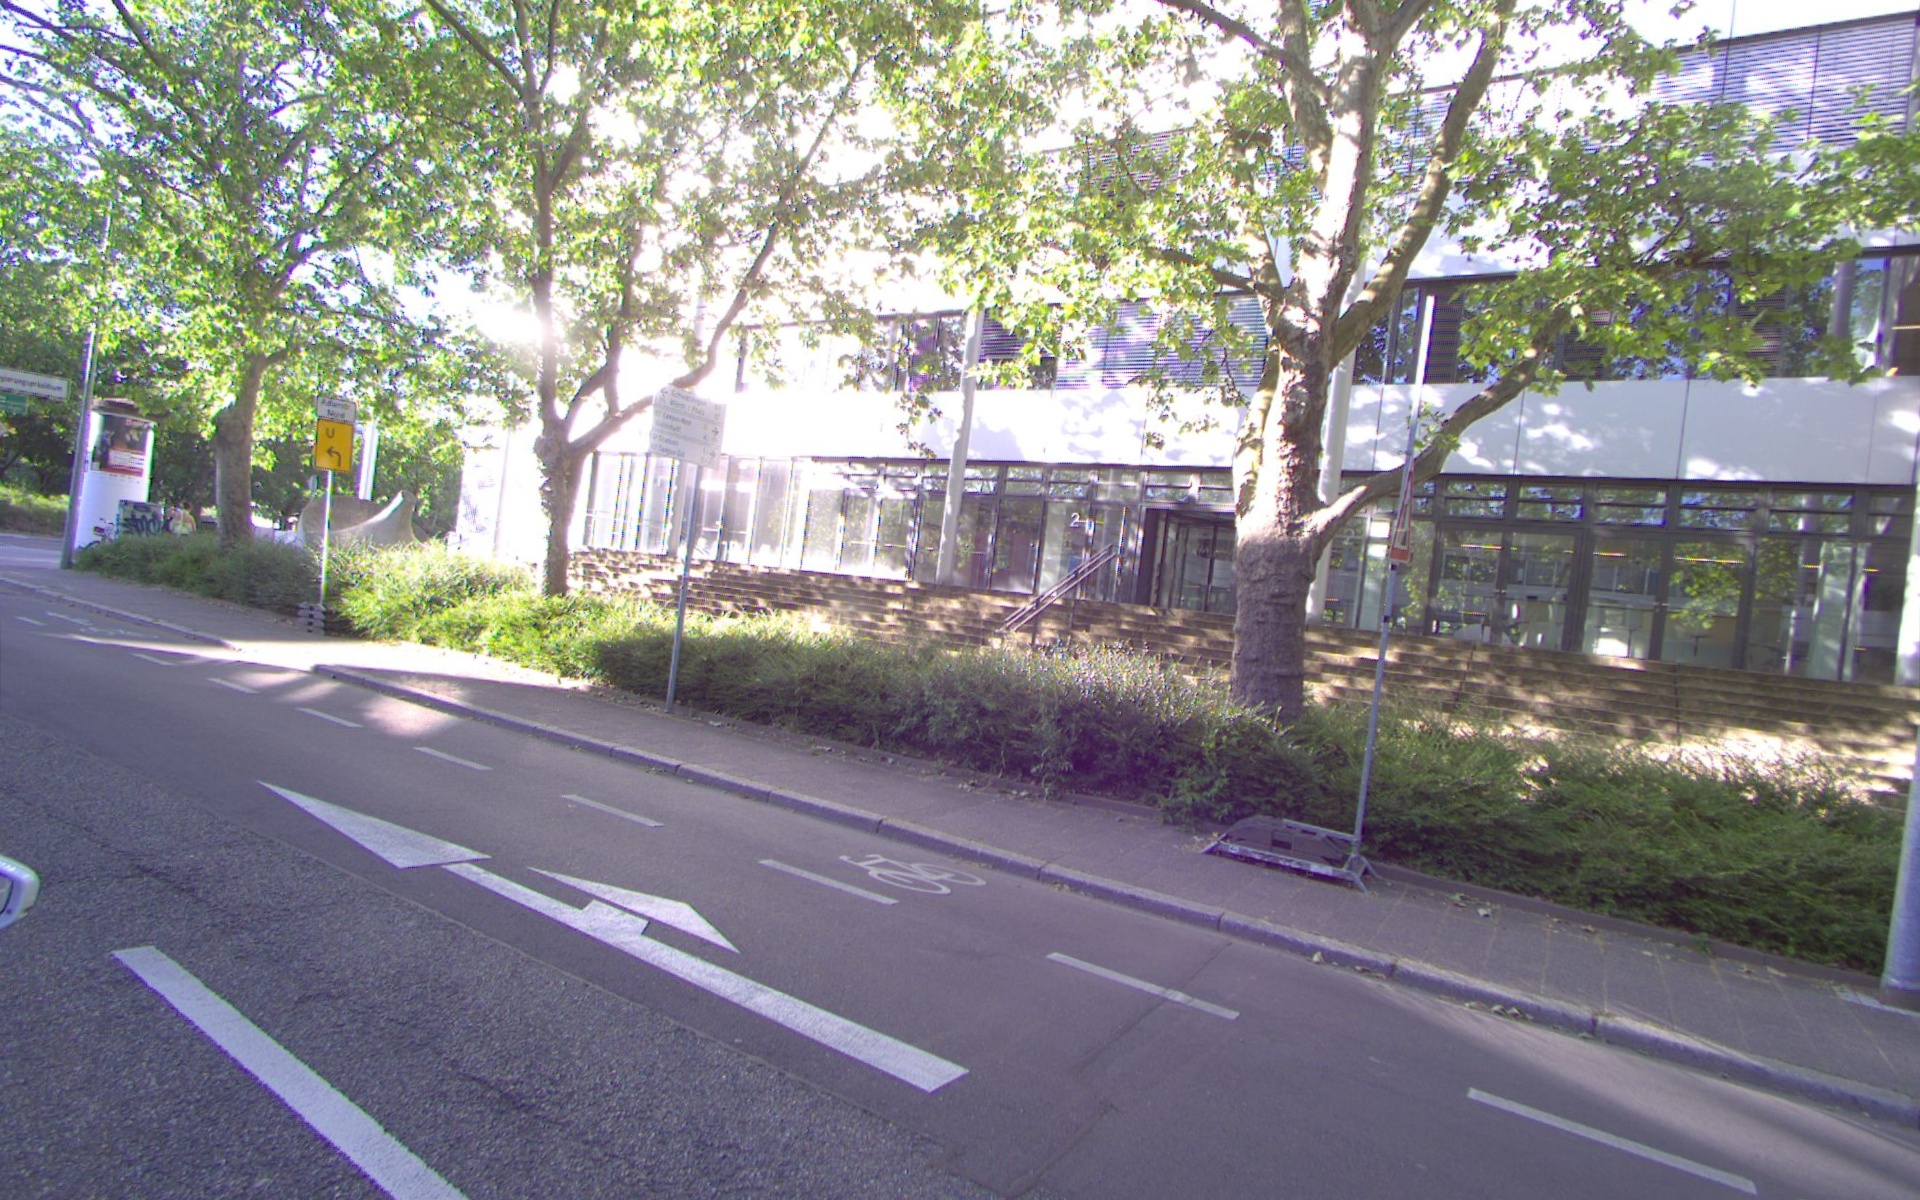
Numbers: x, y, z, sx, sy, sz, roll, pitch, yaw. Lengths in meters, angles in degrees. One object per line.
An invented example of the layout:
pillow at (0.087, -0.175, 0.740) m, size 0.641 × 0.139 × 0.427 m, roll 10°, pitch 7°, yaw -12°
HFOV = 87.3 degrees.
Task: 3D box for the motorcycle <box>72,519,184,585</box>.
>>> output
motorcycle at (-19.222, -1.095, 23.277) m, size 0.712 × 1.257 × 1.782 m, roll 6°, pitch -2°, yaw 37°

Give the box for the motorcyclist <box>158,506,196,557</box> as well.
motorcyclist at (-31.443, -2.759, 40.423) m, size 0.370 × 1.899 × 0.983 m, roll 6°, pitch -1°, yaw 36°

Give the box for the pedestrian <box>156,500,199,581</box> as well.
pedestrian at (-18.997, -1.439, 24.441) m, size 0.644 × 1.849 × 0.660 m, roll 7°, pitch 0°, yaw -37°

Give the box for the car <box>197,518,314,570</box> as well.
car at (-32.697, -2.564, 46.818) m, size 1.708 × 1.792 × 3.996 m, roll 7°, pitch -1°, yaw 30°
